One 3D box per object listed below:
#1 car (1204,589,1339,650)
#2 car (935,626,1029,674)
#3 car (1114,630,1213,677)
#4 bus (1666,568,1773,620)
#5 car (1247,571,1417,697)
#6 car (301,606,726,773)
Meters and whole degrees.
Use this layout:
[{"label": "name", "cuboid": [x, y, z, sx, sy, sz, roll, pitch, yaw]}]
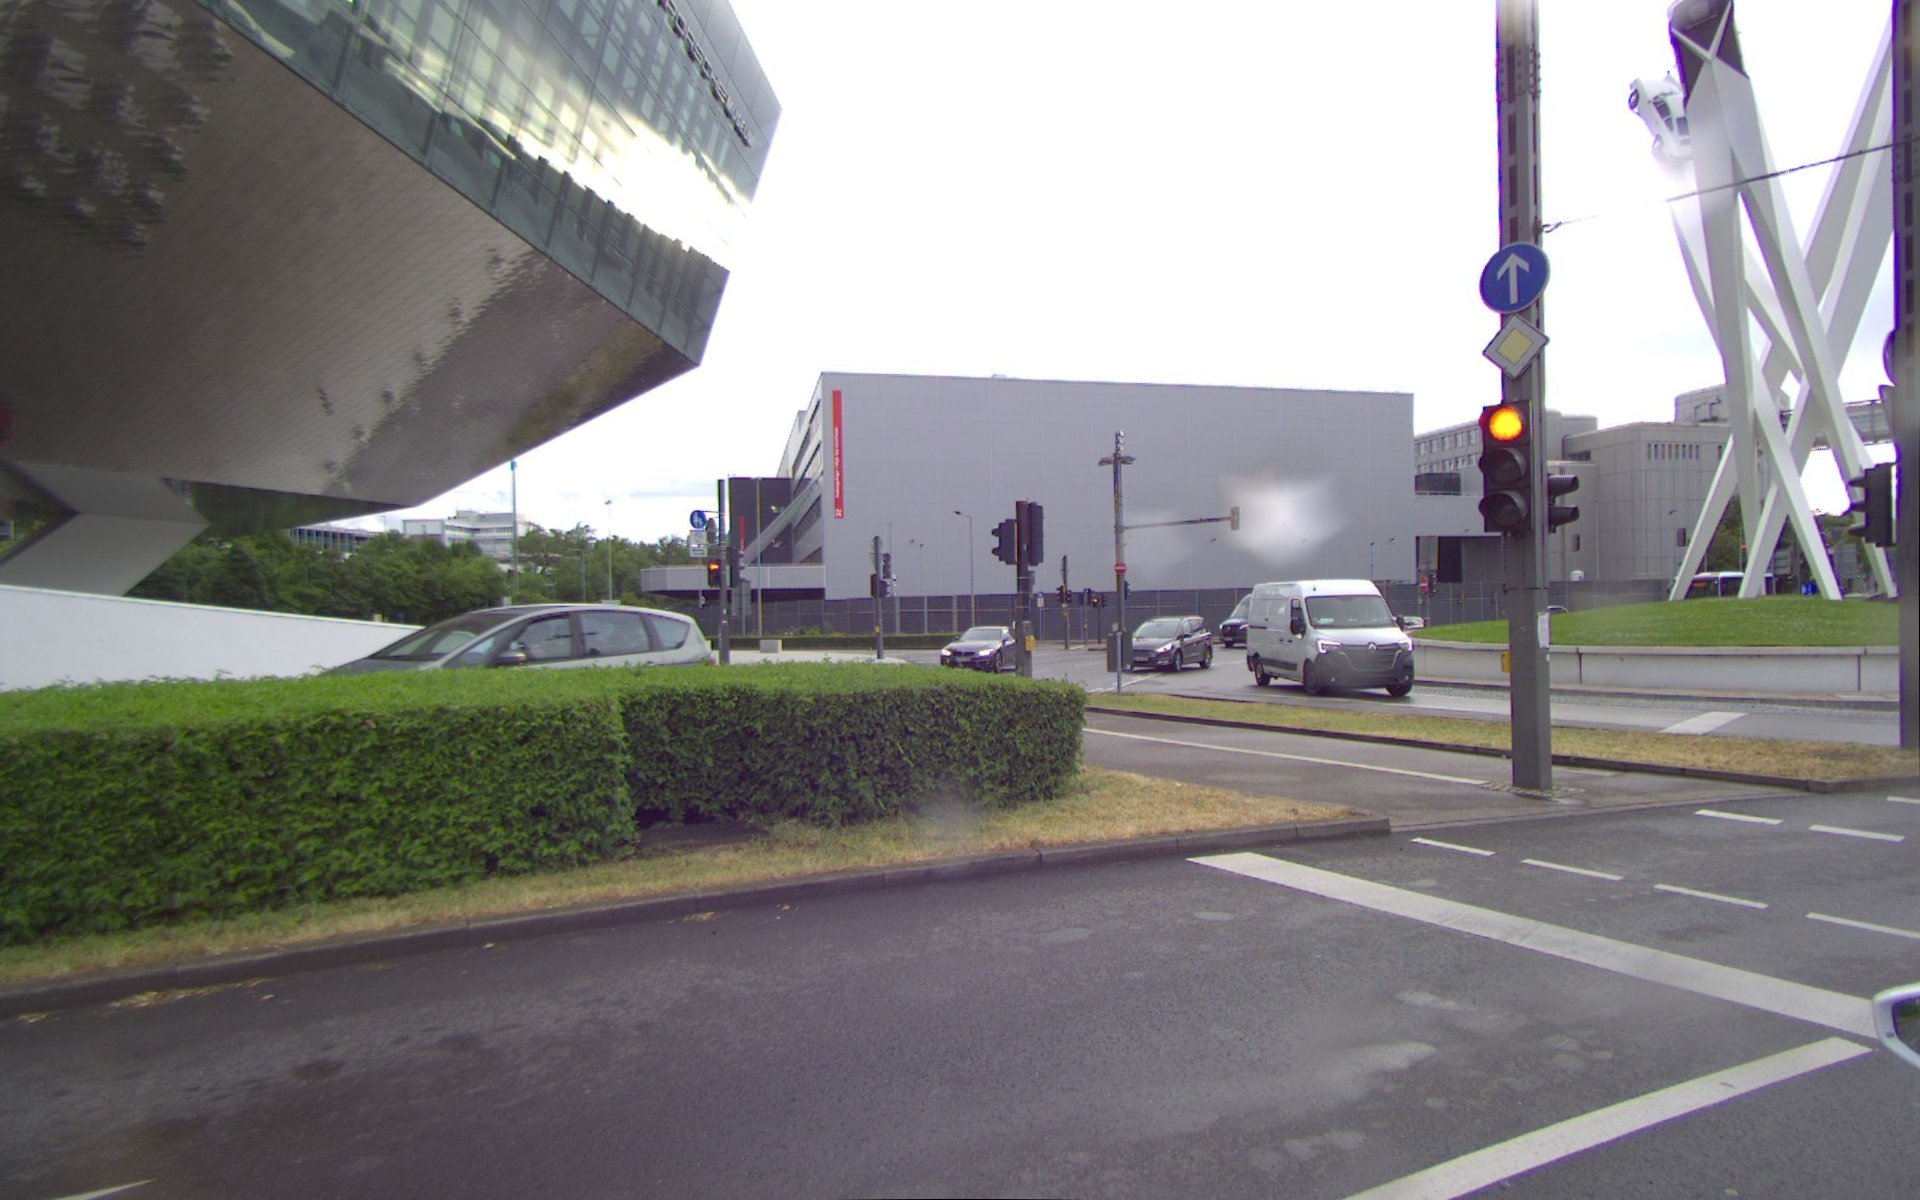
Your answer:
[{"label": "car", "cuboid": [15.304, 0.968, 49.230, 7.038, 2.858, 1.959, 1, -1, -28]}, {"label": "car", "cuboid": [0.787, 1.525, 31.660, 1.803, 1.356, 4.248, 0, -1, 18]}, {"label": "car", "cuboid": [6.745, 1.693, 32.955, 1.807, 1.356, 4.476, 0, -1, 31]}, {"label": "bus", "cuboid": [51.855, -0.299, 68.384, 12.555, 3.243, 2.649, 1, -1, -38]}, {"label": "car", "cuboid": [8.090, 0.723, 22.478, 1.960, 2.479, 5.428, 0, -1, 2]}, {"label": "car", "cuboid": [-4.782, 0.847, 11.260, 1.810, 1.514, 3.985, 0, -1, 37]}]
